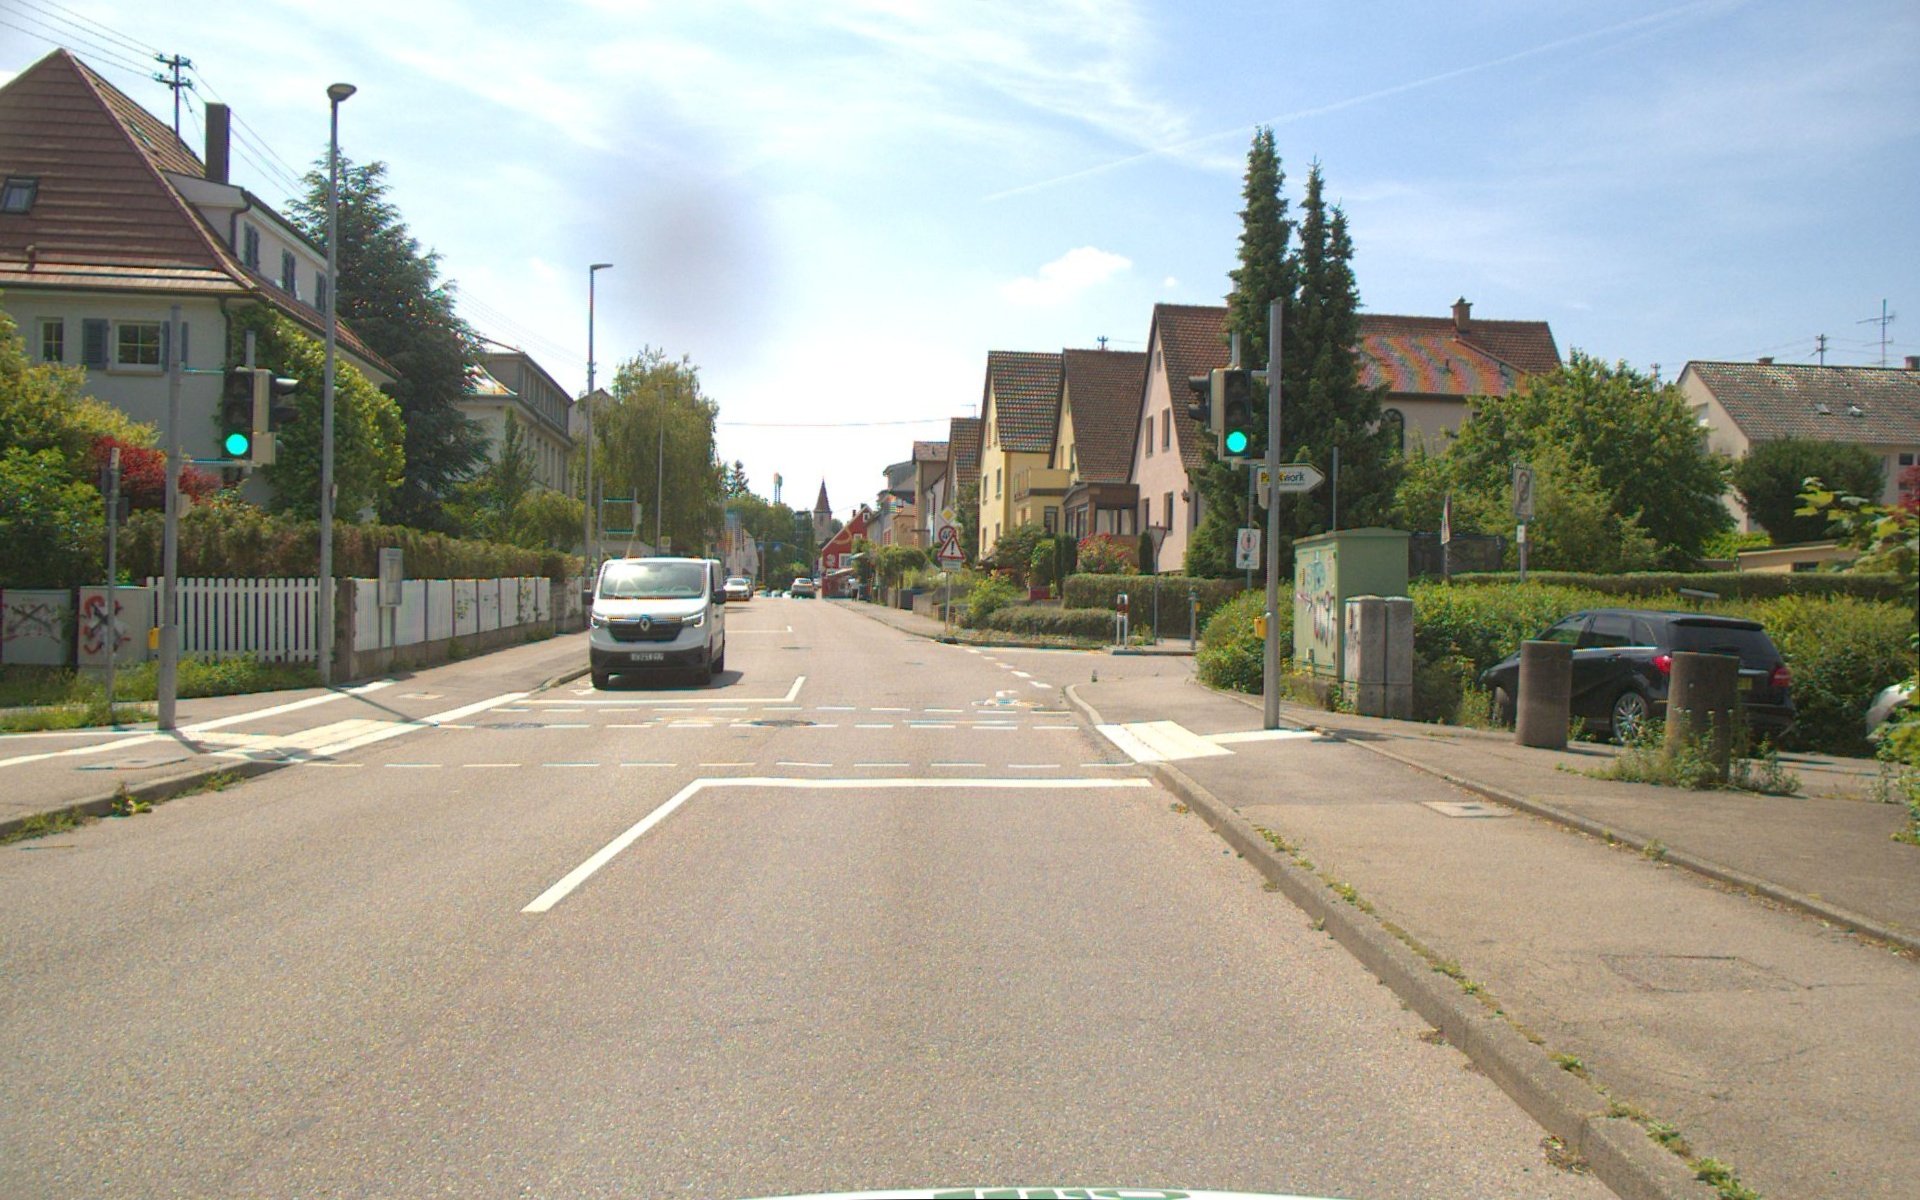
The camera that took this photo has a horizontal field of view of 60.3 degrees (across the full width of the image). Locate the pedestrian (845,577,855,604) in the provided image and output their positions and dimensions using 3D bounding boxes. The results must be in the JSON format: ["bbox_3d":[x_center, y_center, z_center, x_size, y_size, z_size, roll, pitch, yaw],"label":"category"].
[{"bbox_3d":[-7.420,-0.662,111.608,0.634,1.759,0.608,-2,1,-7],"label":"pedestrian"}]

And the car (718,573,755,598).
[{"bbox_3d":[-14.726,-0.982,109.150,2.068,1.588,4.312,0,1,-2],"label":"car"}]

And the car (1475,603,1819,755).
[{"bbox_3d":[7.918,0.883,19.493,1.681,1.579,4.050,2,-1,-14],"label":"car"}]

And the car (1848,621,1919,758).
[{"bbox_3d":[11.668,0.993,17.296,1.599,1.493,4.051,2,-2,-26],"label":"car"}]

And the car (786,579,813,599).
[{"bbox_3d":[-13.153,-0.937,135.409,1.957,1.588,4.304,0,1,-10],"label":"car"}]

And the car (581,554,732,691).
[{"bbox_3d":[-4.837,0.305,27.019,1.842,1.999,4.899,-1,1,-4],"label":"car"}]
